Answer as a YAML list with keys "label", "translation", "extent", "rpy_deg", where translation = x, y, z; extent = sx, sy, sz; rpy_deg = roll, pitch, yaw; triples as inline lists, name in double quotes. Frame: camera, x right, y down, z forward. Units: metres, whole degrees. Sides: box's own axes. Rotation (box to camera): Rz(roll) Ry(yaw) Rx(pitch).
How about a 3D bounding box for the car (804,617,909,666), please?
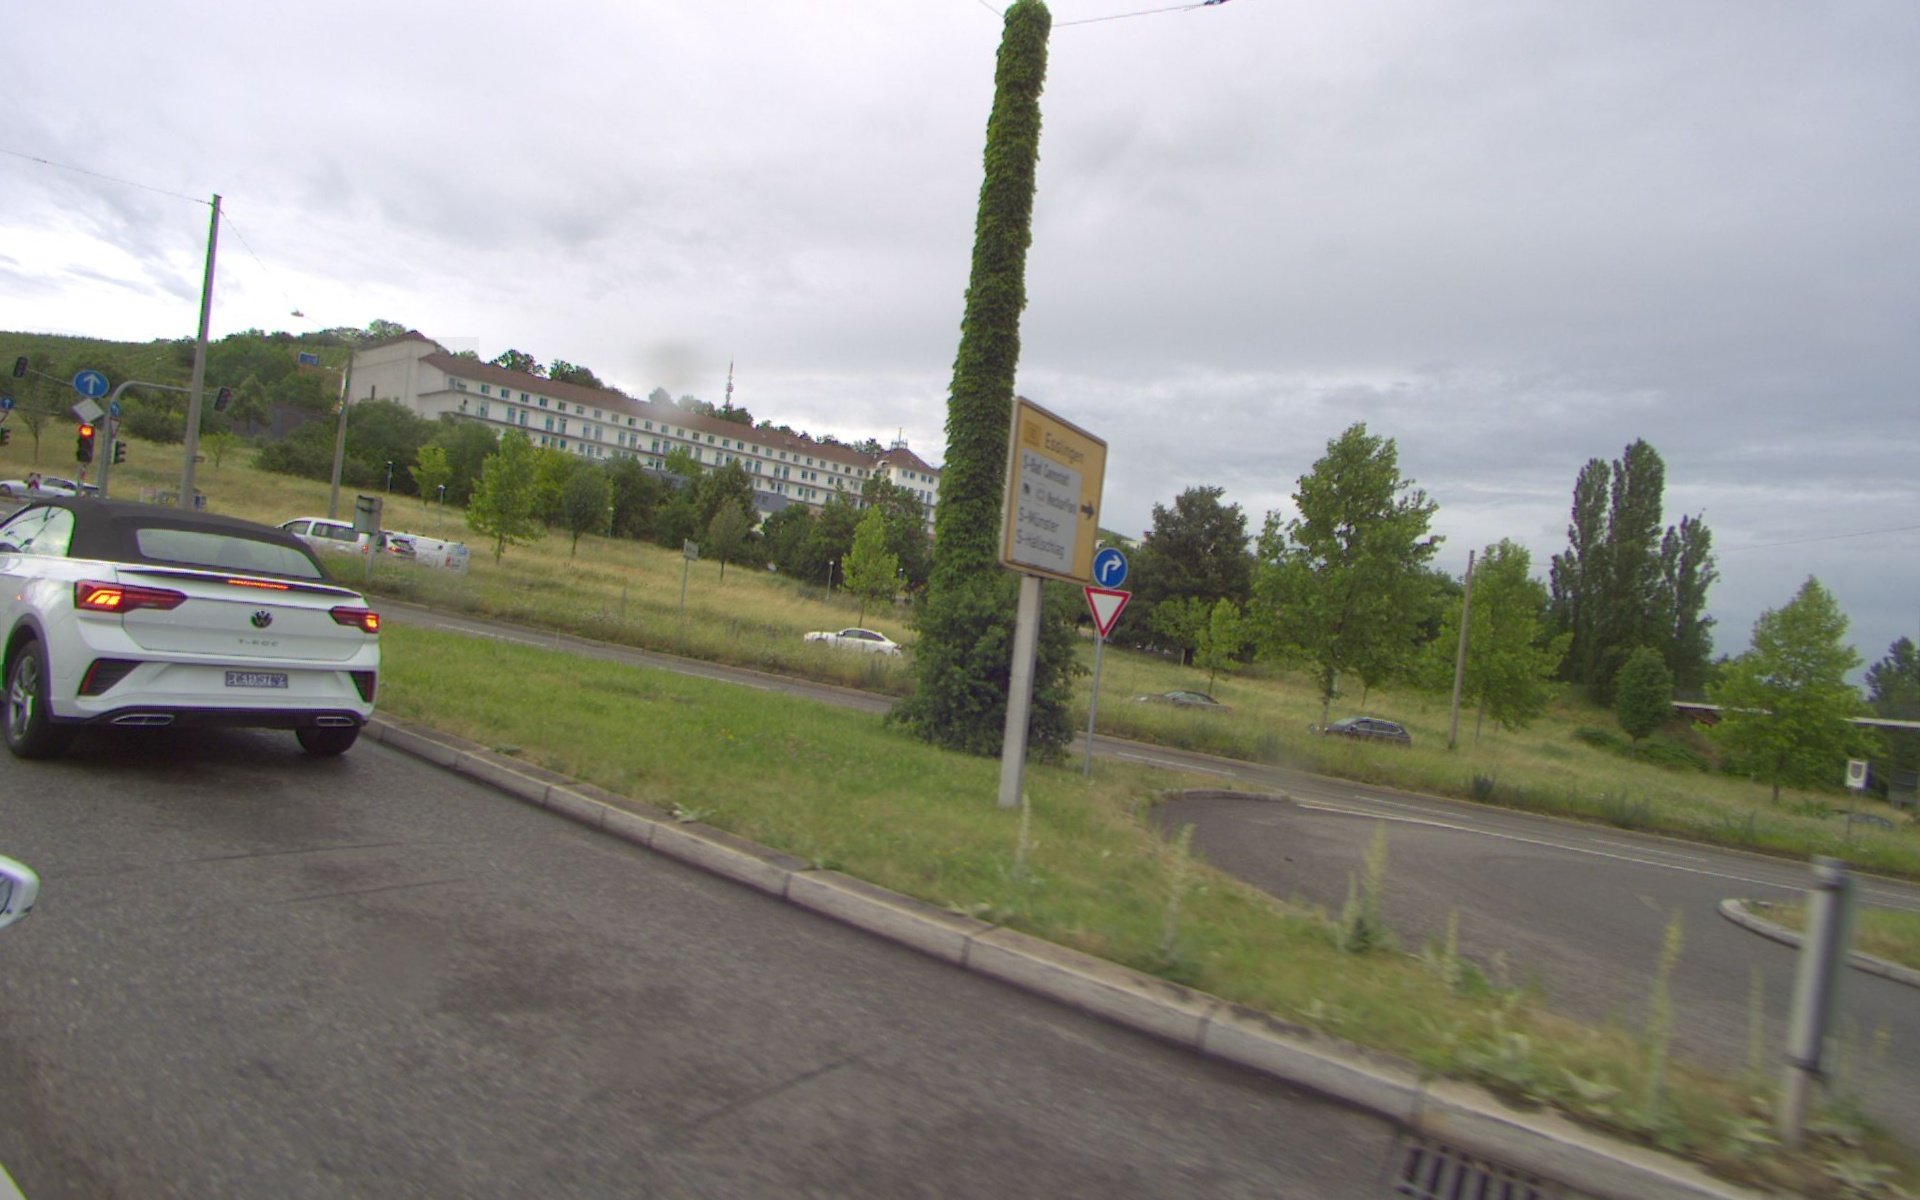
- label: "car"
  translation: [-4.553, 1.806, 44.553]
  extent: [4.285, 1.305, 1.873]
  rpy_deg: [10, 1, 1]

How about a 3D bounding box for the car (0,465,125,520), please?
- label: "car"
  translation: [-41.565, -4.972, 46.282]
  extent: [4.480, 1.624, 2.000]
  rpy_deg: [10, 0, 1]

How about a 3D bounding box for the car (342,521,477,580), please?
- label: "car"
  translation: [-24.714, -2.204, 45.293]
  extent: [4.806, 1.712, 2.001]
  rpy_deg: [10, -1, 3]

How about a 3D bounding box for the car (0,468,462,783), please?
- label: "car"
  translation: [-5.713, 0.075, 7.173]
  extent: [4.060, 1.596, 1.999]
  rpy_deg: [7, -3, 35]

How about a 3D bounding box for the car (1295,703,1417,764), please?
- label: "car"
  translation: [17.865, 6.021, 45.535]
  extent: [4.583, 1.733, 1.873]
  rpy_deg: [10, 1, -2]

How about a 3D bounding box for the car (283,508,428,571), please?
- label: "car"
  translation: [-25.035, -2.471, 41.798]
  extent: [4.583, 1.733, 1.998]
  rpy_deg: [10, 1, -2]

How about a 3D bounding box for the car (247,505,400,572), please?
- label: "car"
  translation: [-24.673, -2.359, 39.121]
  extent: [4.482, 1.733, 1.998]
  rpy_deg: [10, 1, -2]

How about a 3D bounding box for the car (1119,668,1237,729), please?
- label: "car"
  translation: [9.637, 4.339, 44.616]
  extent: [4.584, 1.733, 1.872]
  rpy_deg: [10, 1, -2]
